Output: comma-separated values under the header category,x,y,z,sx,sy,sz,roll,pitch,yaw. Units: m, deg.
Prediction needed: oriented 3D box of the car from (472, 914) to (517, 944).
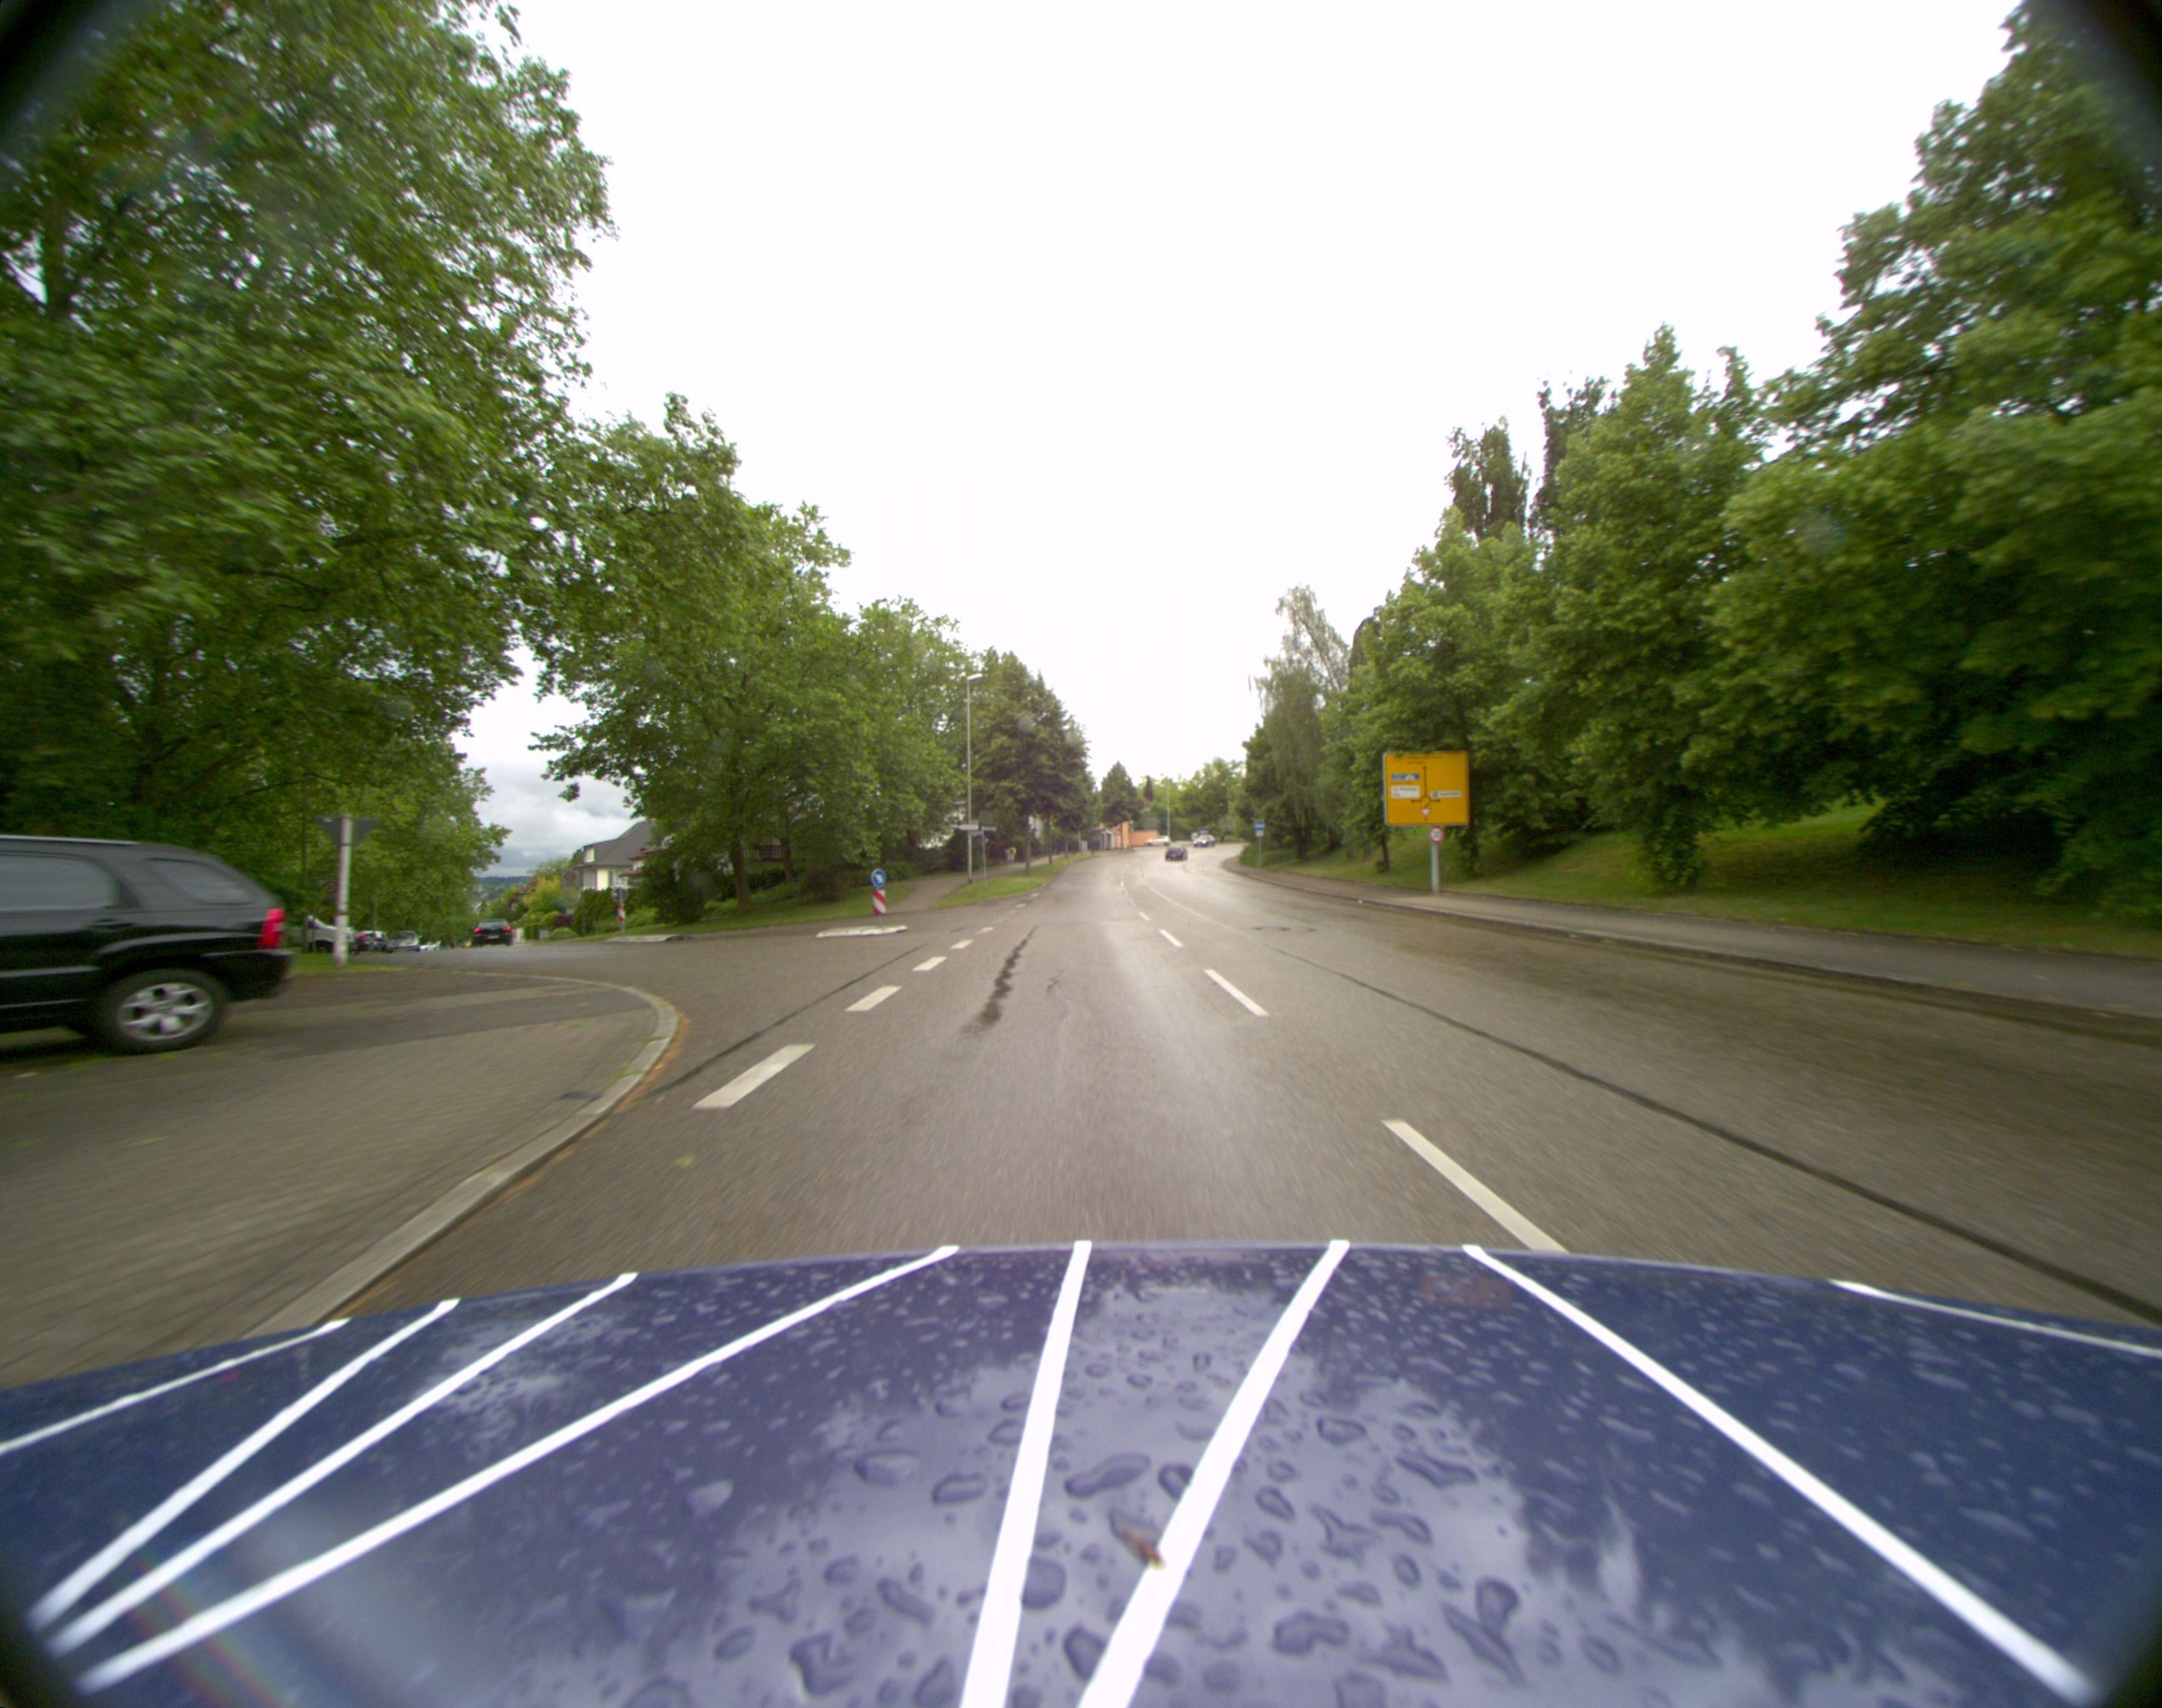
category,x,y,z,sx,sy,sz,roll,pitch,yaw
car,-32.033,4.090,41.582,1.730,1.454,3.992,0,-4,-34

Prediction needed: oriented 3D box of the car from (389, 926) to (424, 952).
category,x,y,z,sx,sy,sz,roll,pitch,yaw
car,-47.367,5.932,53.415,1.730,1.455,3.989,-3,1,-41

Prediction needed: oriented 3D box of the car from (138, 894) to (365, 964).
category,x,y,z,sx,sy,sz,roll,pitch,yaw
car,-34.639,3.035,32.127,6.162,2.657,2.351,3,-3,-40

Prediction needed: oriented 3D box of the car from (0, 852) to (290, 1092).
category,x,y,z,sx,sy,sz,roll,pitch,yaw
car,-8.939,0.843,4.944,1.949,1.679,4.914,-2,-2,30

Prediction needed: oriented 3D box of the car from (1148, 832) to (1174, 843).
category,x,y,z,sx,sy,sz,roll,pitch,yaw
car,12.620,-2.584,119.707,3.863,1.557,1.728,1,2,13

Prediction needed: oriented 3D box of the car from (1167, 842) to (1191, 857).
category,x,y,z,sx,sy,sz,roll,pitch,yaw
car,9.798,-0.460,75.612,1.723,1.375,4.144,1,1,16

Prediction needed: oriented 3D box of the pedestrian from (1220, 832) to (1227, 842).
category,x,y,z,sx,sy,sz,roll,pitch,yaw
pedestrian,24.381,-2.899,130.206,0.926,1.645,1.099,0,2,23

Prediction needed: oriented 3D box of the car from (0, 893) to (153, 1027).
category,x,y,z,sx,sy,sz,roll,pitch,yaw
car,-13.365,1.194,7.965,1.752,1.460,4.576,-3,-3,39

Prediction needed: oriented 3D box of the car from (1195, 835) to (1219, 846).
category,x,y,z,sx,sy,sz,roll,pitch,yaw
car,17.811,-1.896,107.130,1.858,1.406,4.394,-1,0,32
